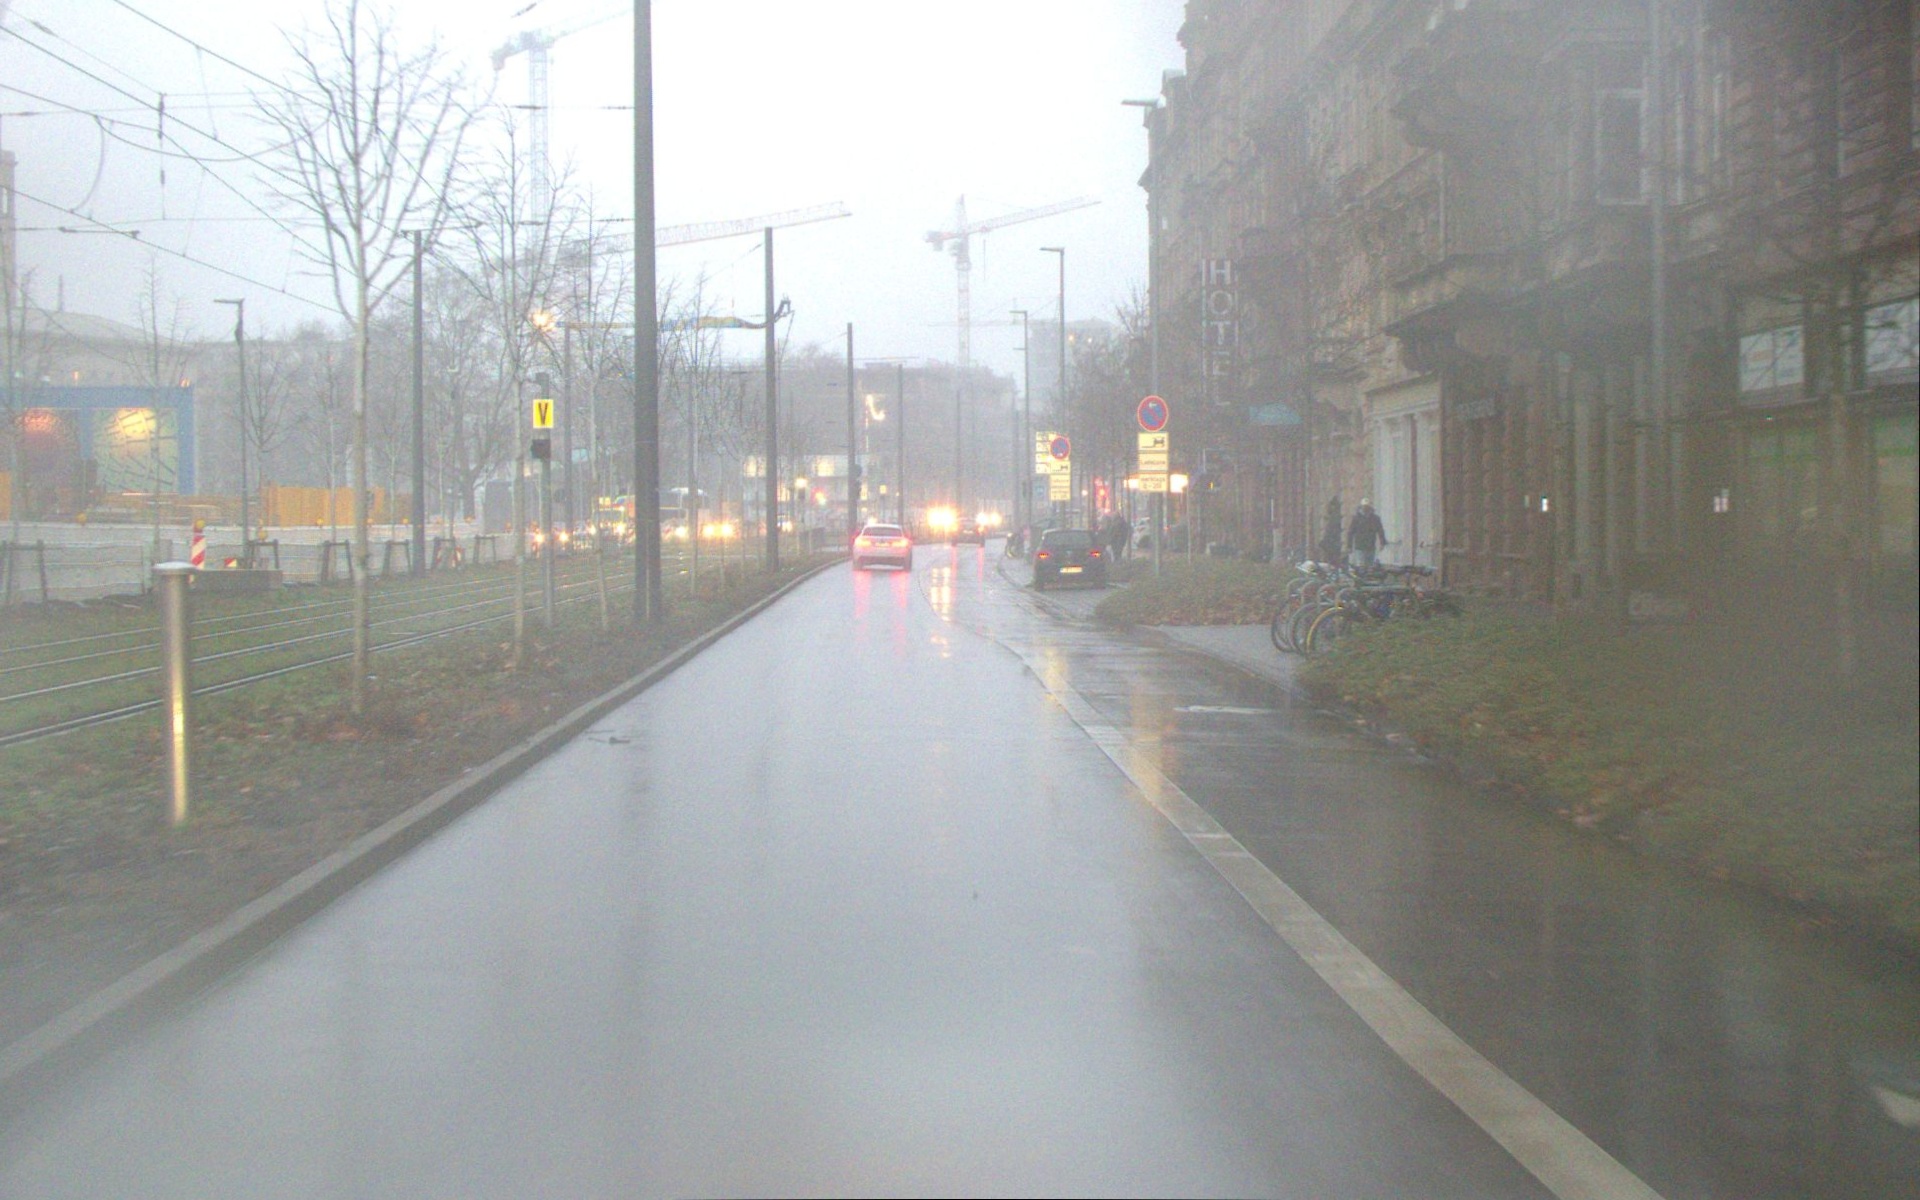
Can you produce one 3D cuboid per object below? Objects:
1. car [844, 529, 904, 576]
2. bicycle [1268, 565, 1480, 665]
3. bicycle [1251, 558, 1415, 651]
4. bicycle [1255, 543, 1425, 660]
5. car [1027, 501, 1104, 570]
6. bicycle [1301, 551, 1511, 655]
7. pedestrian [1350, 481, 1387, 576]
[{"bbox_3d":[-2.747,-1.524,110.172,1.784,1.462,3.148,0,1,1],"label":"car"},{"bbox_3d":[4.544,0.161,37.821,2.248,1.053,0.526,-1,1,-3],"label":"bicycle"},{"bbox_3d":[4.386,0.046,40.418,1.851,1.054,0.471,-1,1,-3],"label":"bicycle"},{"bbox_3d":[4.283,0.008,38.813,1.851,1.285,0.415,-1,1,-3],"label":"bicycle"},{"bbox_3d":[2.532,-1.563,83.069,1.799,1.598,3.770,-1,1,1],"label":"car"},{"bbox_3d":[4.754,0.026,36.645,2.146,1.053,0.526,-1,1,-7],"label":"bicycle"},{"bbox_3d":[7.778,-1.364,65.477,0.603,1.779,0.528,-1,1,-1],"label":"pedestrian"}]
